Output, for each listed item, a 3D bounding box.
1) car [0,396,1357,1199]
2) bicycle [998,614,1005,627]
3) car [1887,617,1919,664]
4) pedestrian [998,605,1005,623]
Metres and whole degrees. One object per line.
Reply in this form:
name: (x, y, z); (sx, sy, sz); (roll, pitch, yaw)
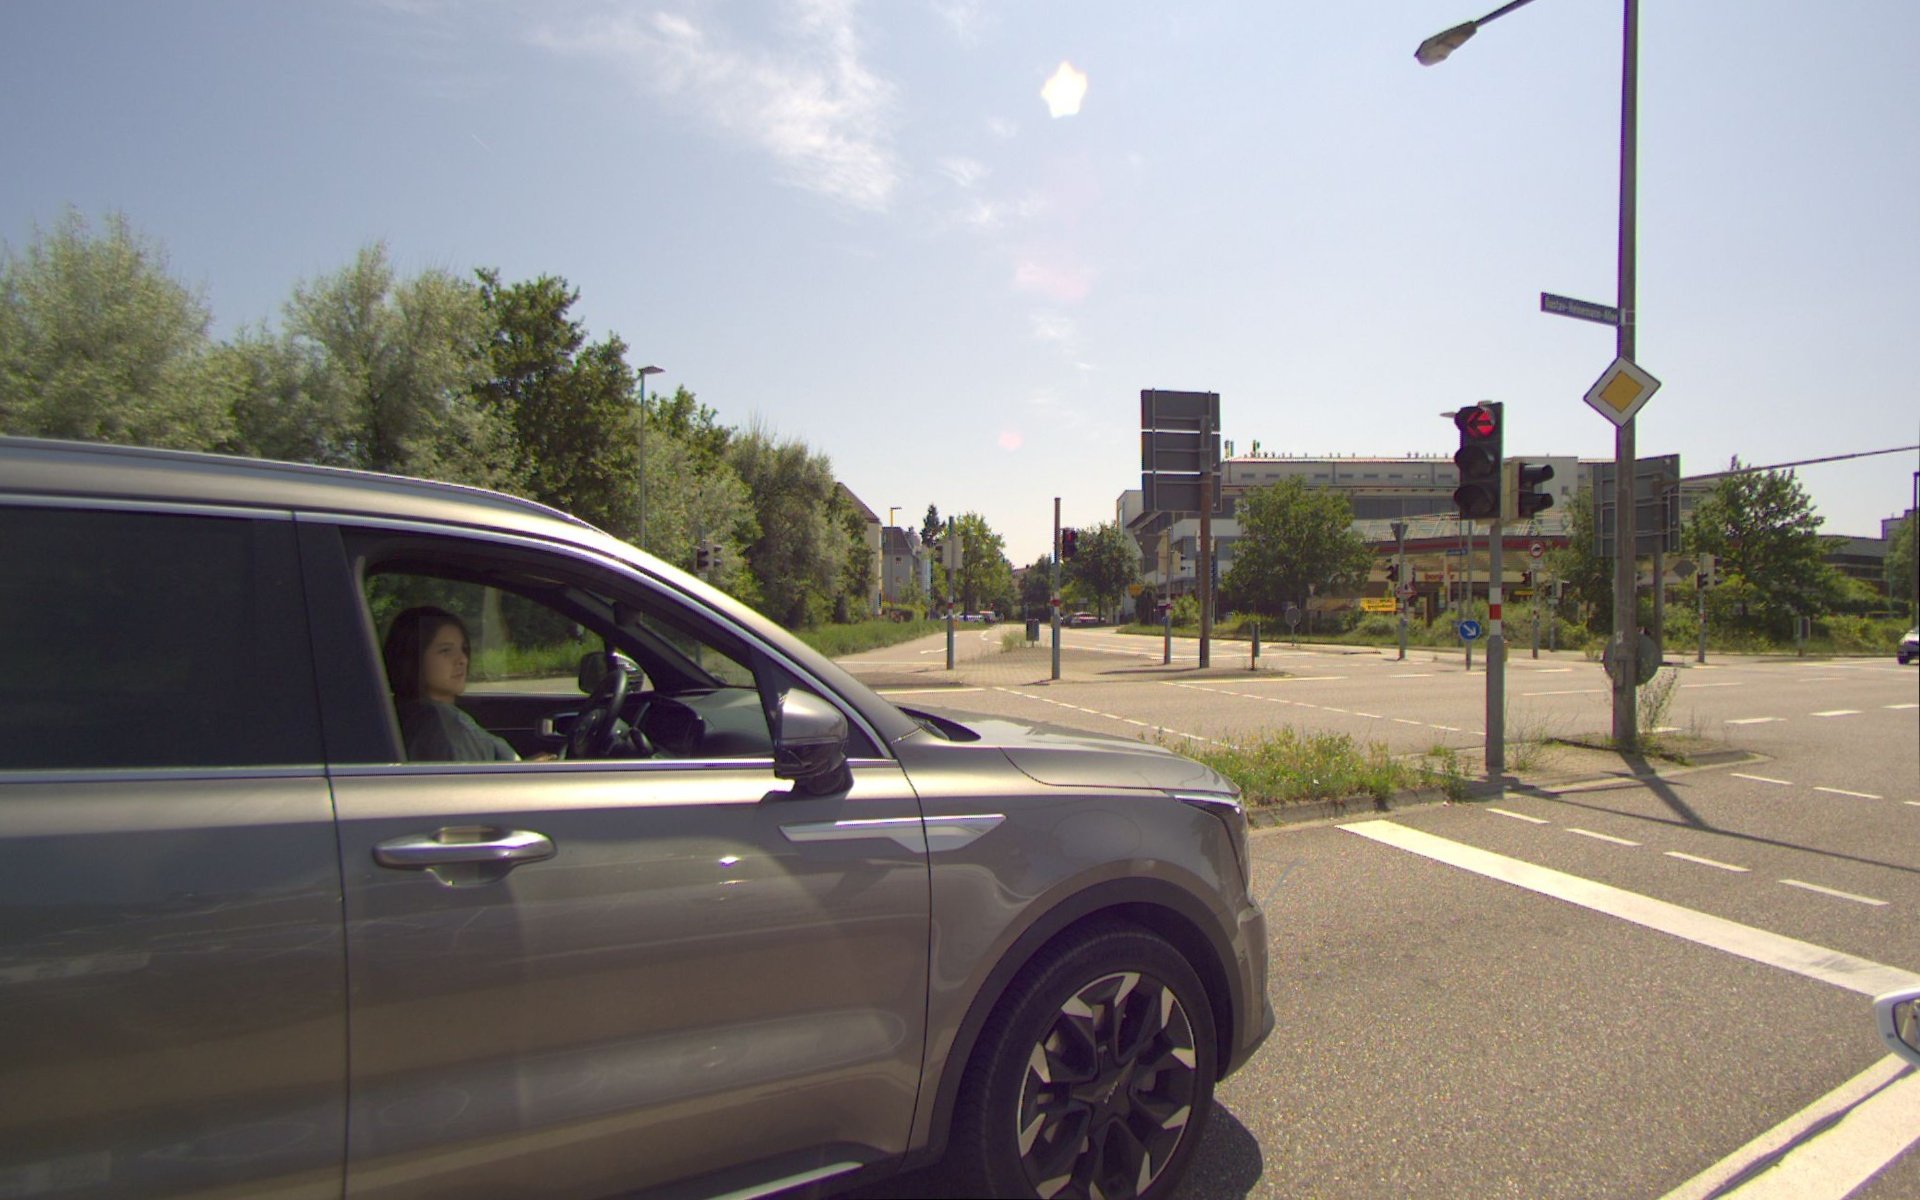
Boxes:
car: (-1.281, 0.595, 2.321); (4.480, 1.690, 1.771); (1, -1, -31)
bicycle: (6.523, 3.156, 157.023); (0.876, 2.040, 3.196); (0, -1, 6)
car: (34.056, 1.408, 34.926); (3.954, 1.560, 1.650); (1, 0, -31)
pedestrian: (6.555, 2.162, 157.206); (0.864, 2.751, 1.518); (2, 0, 8)
